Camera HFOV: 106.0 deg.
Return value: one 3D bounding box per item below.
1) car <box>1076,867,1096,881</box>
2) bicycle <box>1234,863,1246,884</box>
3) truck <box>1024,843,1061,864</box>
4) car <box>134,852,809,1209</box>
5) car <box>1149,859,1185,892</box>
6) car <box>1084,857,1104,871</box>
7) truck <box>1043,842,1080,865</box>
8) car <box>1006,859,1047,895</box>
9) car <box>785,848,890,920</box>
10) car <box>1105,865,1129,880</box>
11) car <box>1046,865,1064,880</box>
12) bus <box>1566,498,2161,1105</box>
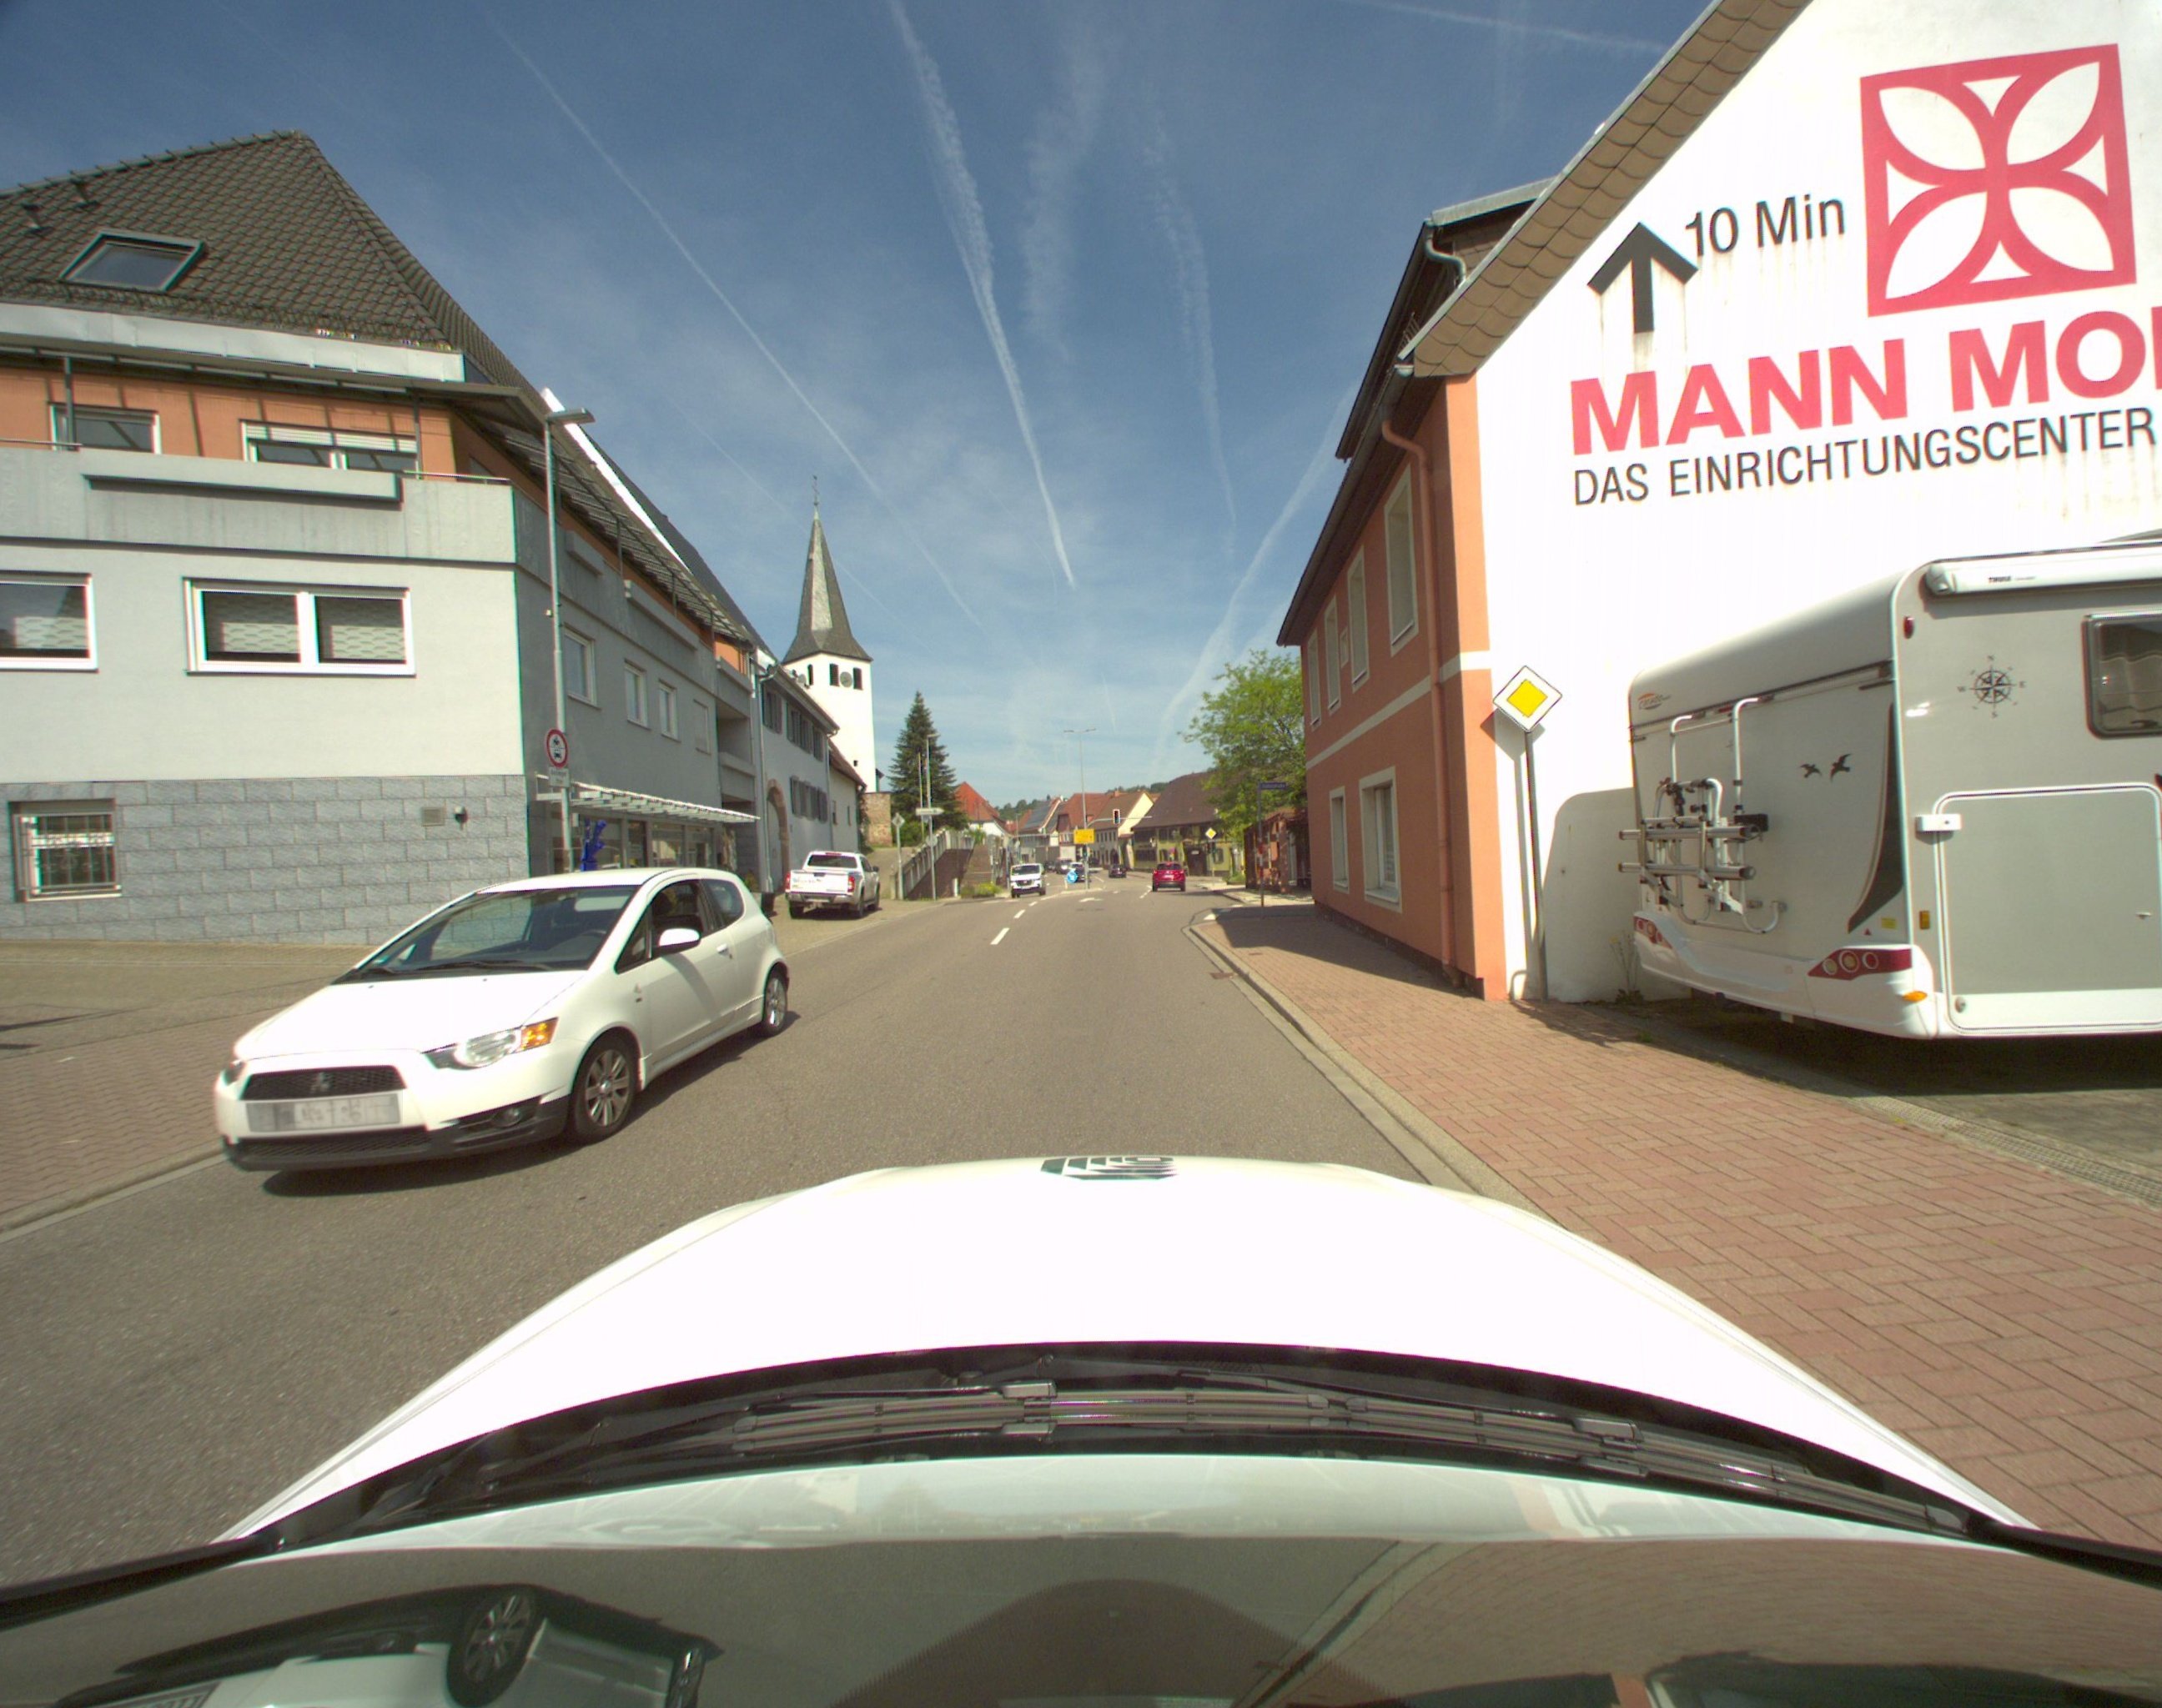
[{"bbox_3d":[0.564,2.174,89.074,1.813,1.434,4.252,-2,0,3],"label":"car"},{"bbox_3d":[10.033,1.207,51.391,0.526,1.279,1.997,-6,-1,10],"label":"bicycle"},{"bbox_3d":[-6.786,0.001,142.300,3.171,3.460,10.634,0,-1,-21],"label":"truck"},{"bbox_3d":[-3.442,0.808,5.660,1.723,1.542,3.812,-3,0,0],"label":"car"},{"bbox_3d":[4.909,1.184,46.020,1.794,1.663,3.821,-3,0,8],"label":"car"},{"bbox_3d":[1.833,1.381,116.871,1.850,2.014,3.979,0,0,-15],"label":"car"},{"bbox_3d":[-3.265,-0.081,133.011,3.234,3.549,9.169,0,0,-20],"label":"truck"},{"bbox_3d":[-3.202,1.304,49.018,1.962,1.933,5.314,-3,0,1],"label":"car"},{"bbox_3d":[-6.749,0.757,23.142,1.802,1.798,5.276,1,0,-5],"label":"car"},{"bbox_3d":[4.354,2.216,98.280,1.823,1.739,3.987,-3,0,-13],"label":"car"},{"bbox_3d":[-4.088,2.919,126.859,1.761,2.246,4.529,0,0,-15],"label":"car"},{"bbox_3d":[7.008,-0.379,4.954,6.534,2.905,2.232,-3,-1,5],"label":"bus"}]
